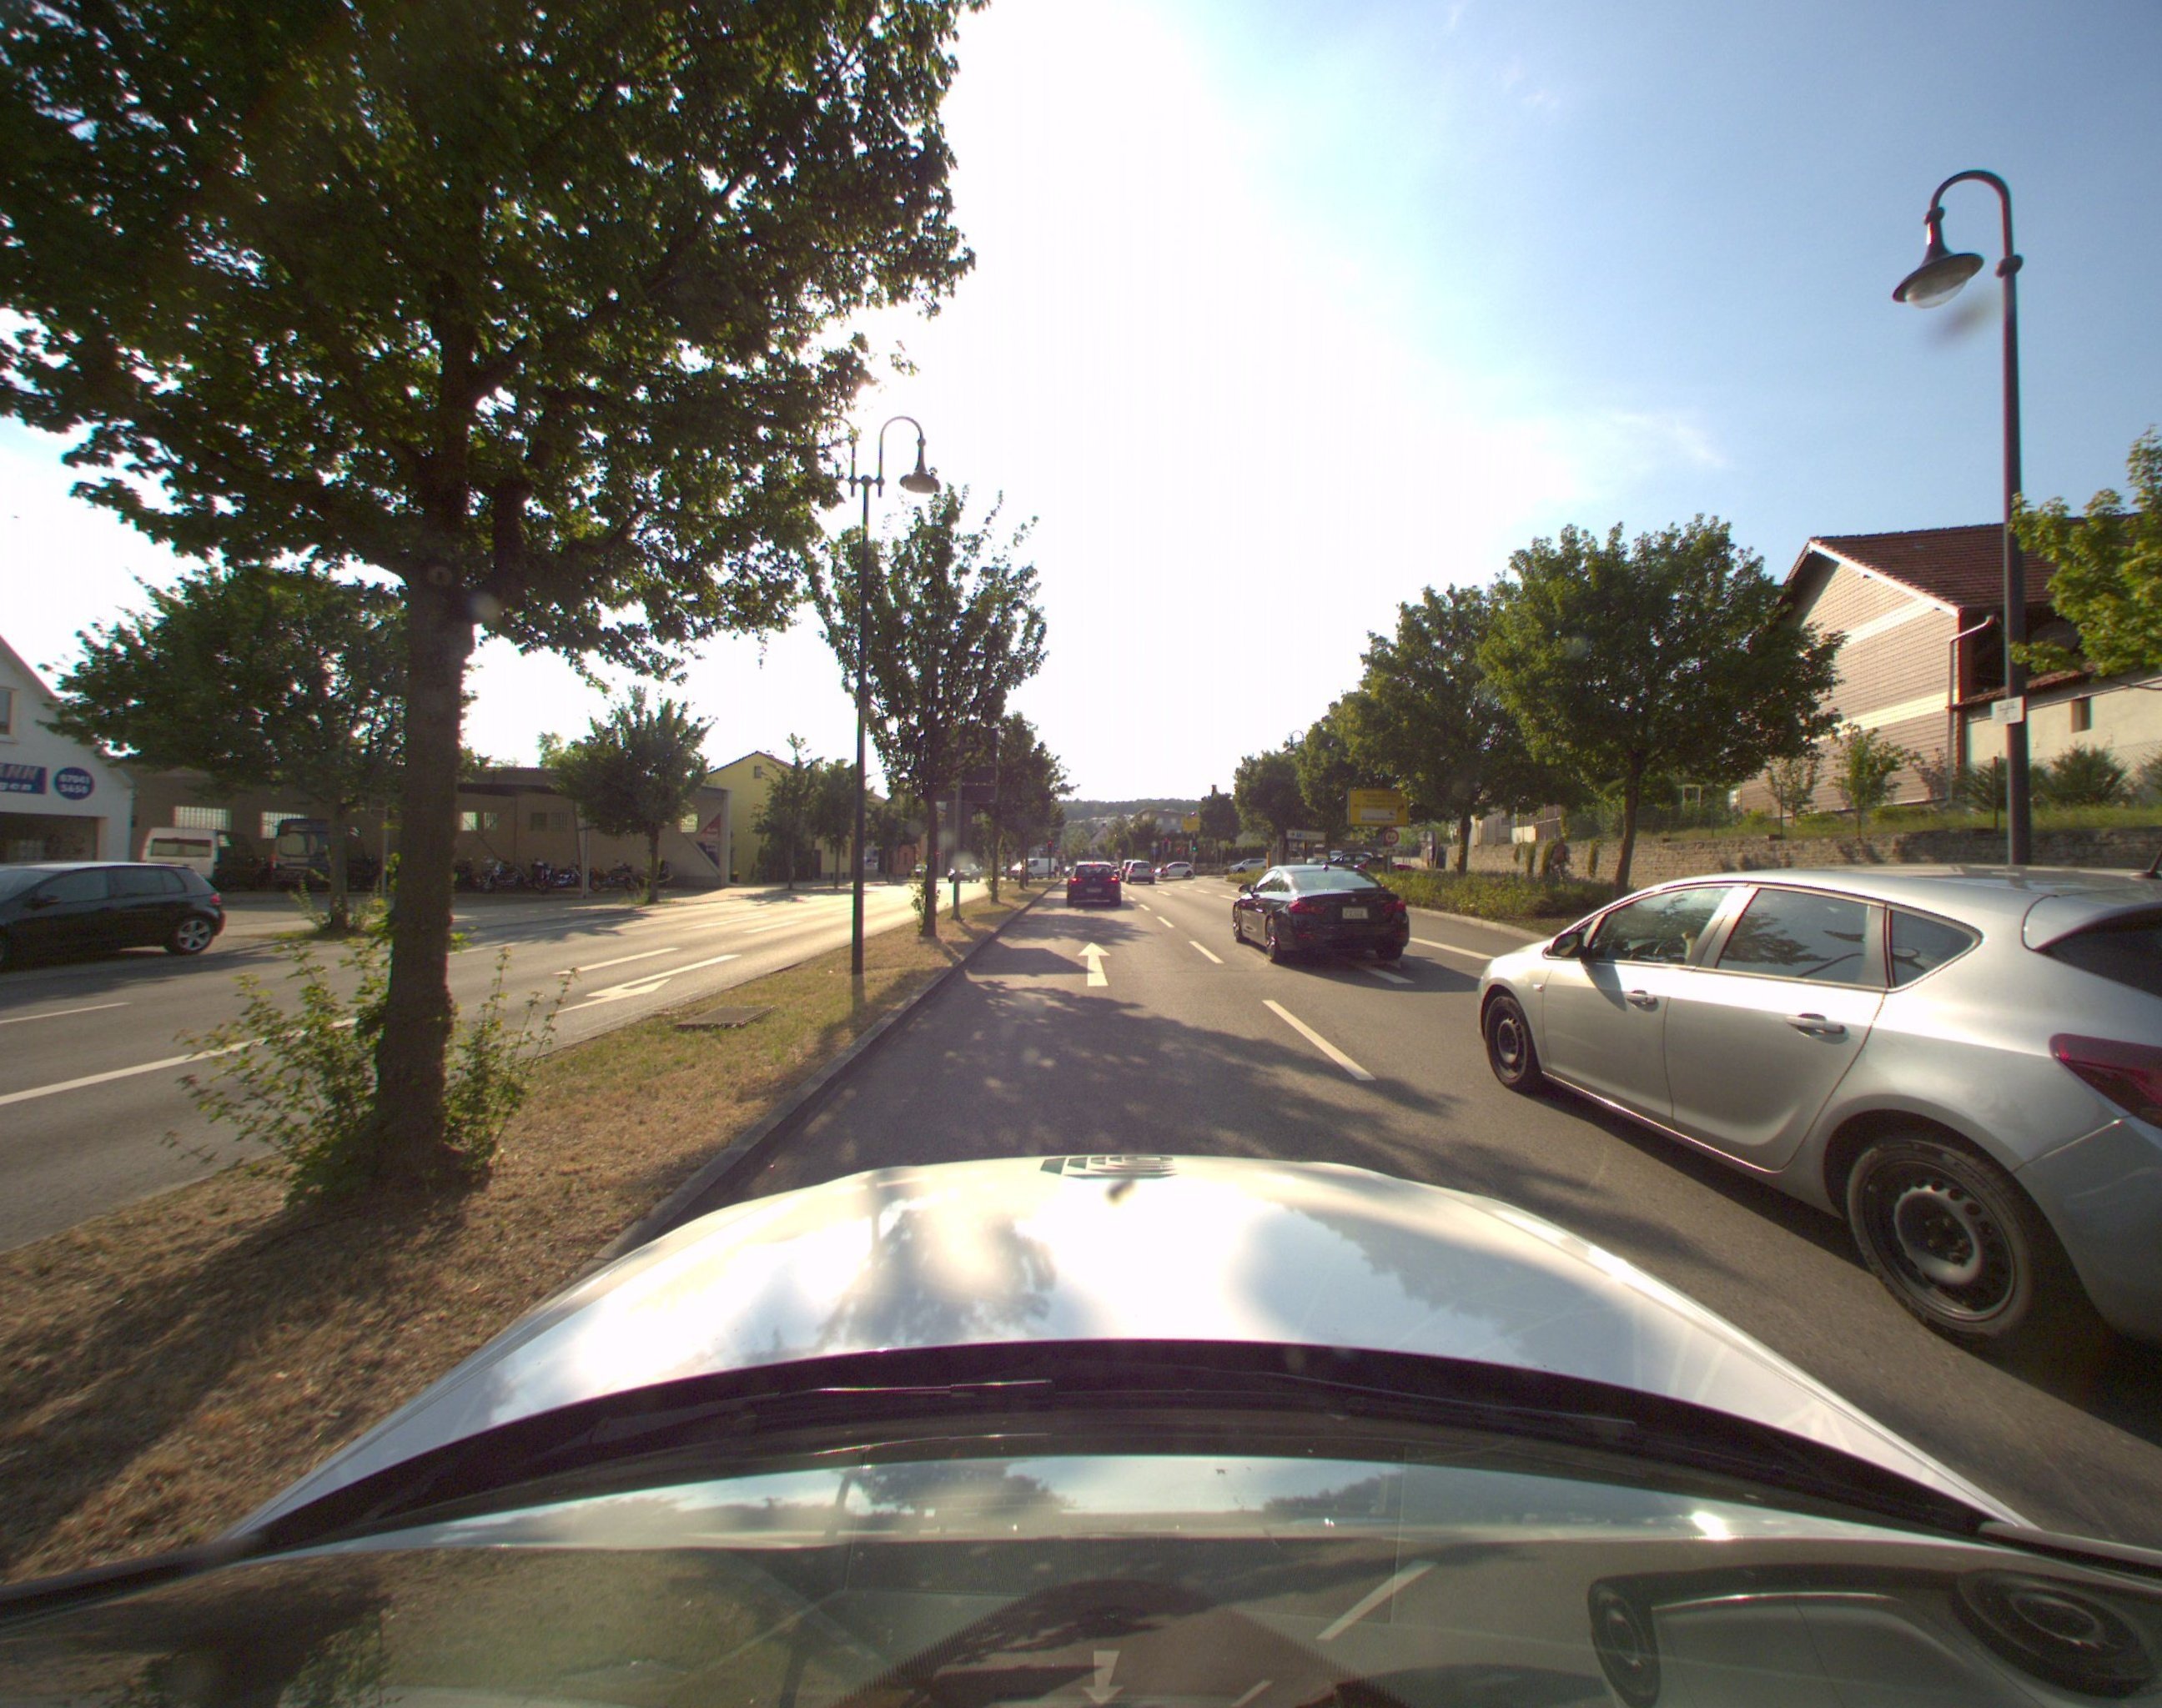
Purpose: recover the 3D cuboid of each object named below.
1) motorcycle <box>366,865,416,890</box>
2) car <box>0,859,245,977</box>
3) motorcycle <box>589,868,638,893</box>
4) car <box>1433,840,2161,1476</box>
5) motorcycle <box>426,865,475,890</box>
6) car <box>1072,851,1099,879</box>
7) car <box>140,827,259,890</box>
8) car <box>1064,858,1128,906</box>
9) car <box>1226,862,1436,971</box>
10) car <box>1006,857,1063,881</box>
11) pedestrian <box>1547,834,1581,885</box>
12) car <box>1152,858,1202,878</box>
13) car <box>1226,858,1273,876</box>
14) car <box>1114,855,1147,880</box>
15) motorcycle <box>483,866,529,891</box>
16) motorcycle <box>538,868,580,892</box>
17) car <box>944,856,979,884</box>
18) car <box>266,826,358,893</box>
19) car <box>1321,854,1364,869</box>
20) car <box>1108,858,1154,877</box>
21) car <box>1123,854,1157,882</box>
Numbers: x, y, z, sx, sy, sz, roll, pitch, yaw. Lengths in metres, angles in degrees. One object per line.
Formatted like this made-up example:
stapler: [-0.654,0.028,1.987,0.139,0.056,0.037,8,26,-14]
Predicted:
motorcycle: [-31.078,1.065,36.703,0.510,1.069,1.647,-1,0,32]
car: [-15.156,0.858,11.770,1.750,1.454,4.132,4,0,0]
motorcycle: [-21.097,1.173,36.763,0.510,1.069,1.882,-1,0,36]
car: [3.476,0.699,4.030,1.714,1.490,4.308,-1,0,2]
motorcycle: [-28.485,1.058,36.808,0.510,1.107,1.647,-1,0,32]
car: [0.316,0.716,55.323,1.750,1.769,3.970,-1,0,0]
car: [-33.189,0.121,30.812,2.051,2.150,4.274,4,0,-35]
car: [0.578,0.893,27.646,1.712,1.490,4.361,0,0,7]
car: [3.596,0.815,12.601,1.914,1.364,4.352,-1,0,0]
car: [-4.238,1.352,75.554,5.154,2.130,2.120,0,0,-45]
pedestrian: [16.519,0.200,27.872,0.692,1.703,0.952,-1,0,8]
car: [9.636,1.382,81.621,4.537,1.929,2.138,0,0,-12]
car: [18.418,1.392,89.140,4.632,1.829,1.993,-1,0,-11]
car: [3.747,1.003,61.907,2.210,1.769,4.453,-1,0,0]
motorcycle: [-26.032,1.114,36.879,0.510,1.069,1.647,-1,0,32]
motorcycle: [-23.475,1.167,36.650,0.510,1.005,1.552,-1,0,30]
car: [-9.176,1.185,62.682,2.134,2.008,5.120,0,0,-3]
car: [-29.645,0.174,31.531,2.052,2.336,4.272,4,0,-38]
car: [31.393,0.890,97.821,4.620,1.829,1.998,-1,0,-3]
car: [5.340,1.431,87.342,4.929,1.929,2.147,0,0,1]
car: [3.846,0.879,53.545,1.919,1.769,4.453,-1,0,0]
